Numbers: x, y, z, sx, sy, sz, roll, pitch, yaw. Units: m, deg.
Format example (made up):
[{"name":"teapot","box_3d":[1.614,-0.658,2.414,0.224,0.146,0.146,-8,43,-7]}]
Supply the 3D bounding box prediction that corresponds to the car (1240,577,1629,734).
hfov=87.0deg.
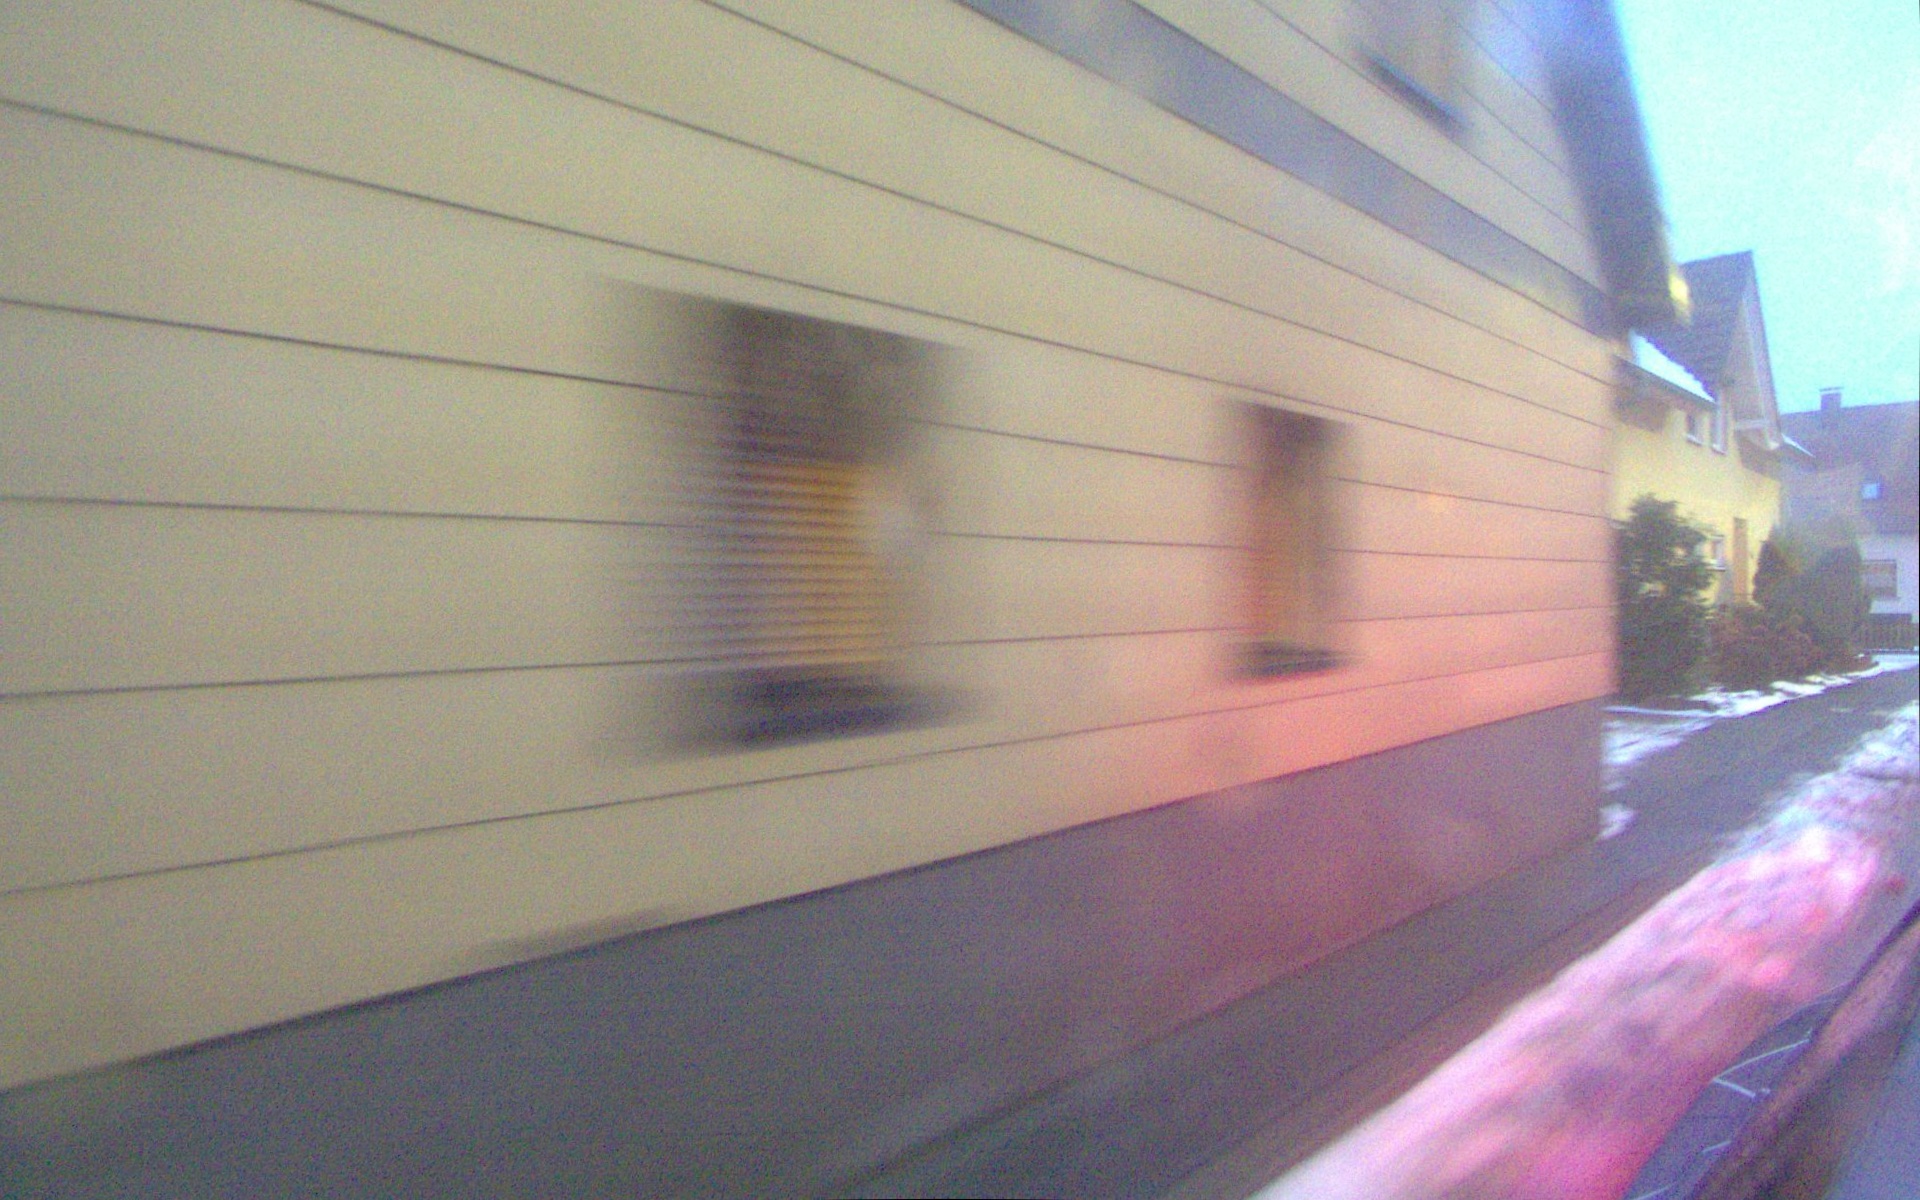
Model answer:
[{"name":"car","box_3d":[5.375,0.533,11.725,3.741,1.516,1.793,0,0,44]}]
